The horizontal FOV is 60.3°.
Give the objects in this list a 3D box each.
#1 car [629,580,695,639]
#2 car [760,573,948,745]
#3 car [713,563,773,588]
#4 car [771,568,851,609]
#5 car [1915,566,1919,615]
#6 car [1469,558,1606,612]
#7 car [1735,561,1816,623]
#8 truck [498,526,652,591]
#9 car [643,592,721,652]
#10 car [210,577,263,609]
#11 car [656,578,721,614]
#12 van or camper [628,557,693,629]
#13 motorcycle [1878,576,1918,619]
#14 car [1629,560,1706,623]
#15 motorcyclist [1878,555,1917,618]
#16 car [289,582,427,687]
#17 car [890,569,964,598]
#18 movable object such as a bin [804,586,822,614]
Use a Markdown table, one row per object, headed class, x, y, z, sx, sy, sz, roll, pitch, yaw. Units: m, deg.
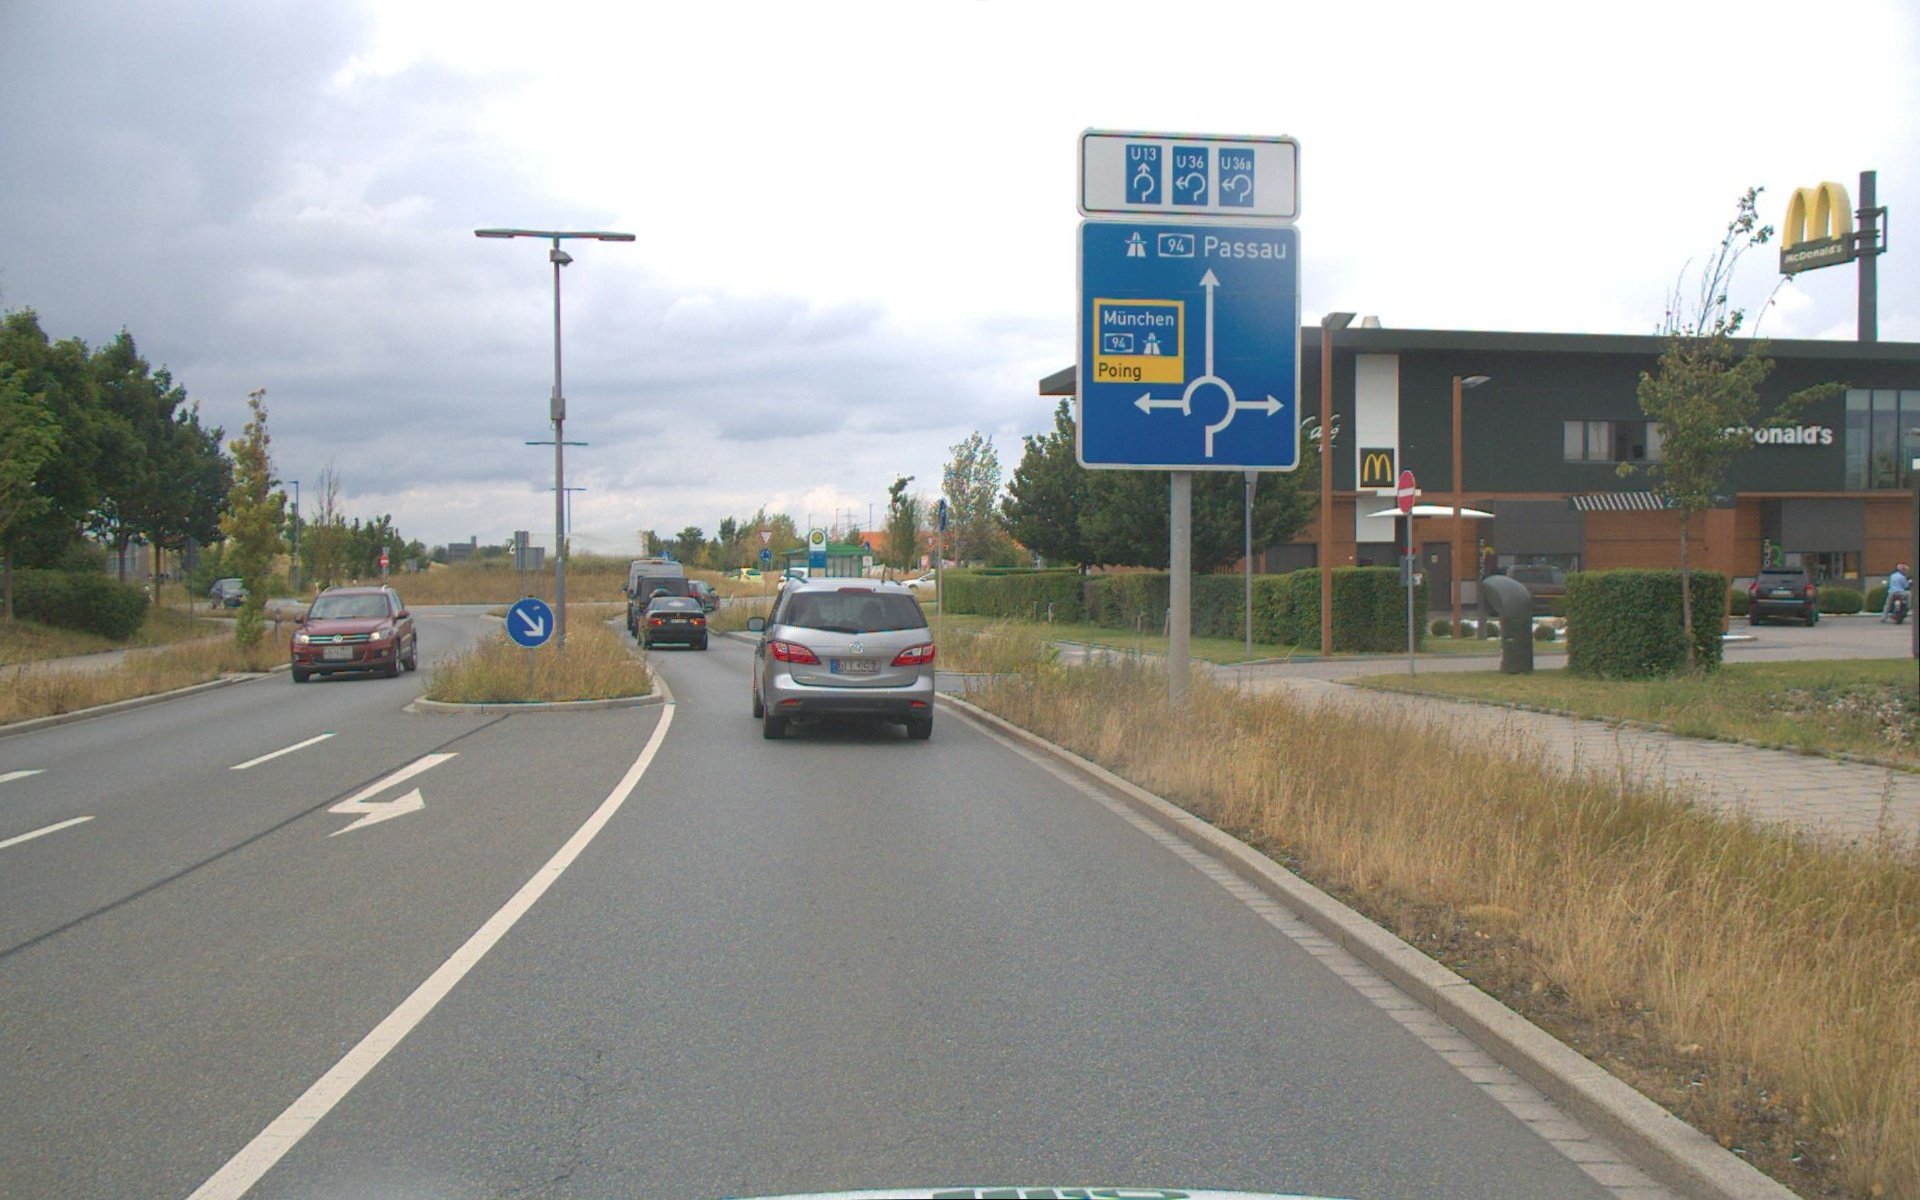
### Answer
| class | x | y | z | sx | sy | sz | roll | pitch | yaw |
| --- | --- | --- | --- | --- | --- | --- | --- | --- | --- |
| car | -9.792 | 0.280 | 54.244 | 2.021 | 1.857 | 4.773 | 0 | 0 | -11 |
| car | -1.233 | 0.543 | 17.687 | 1.697 | 1.628 | 3.800 | 1 | 1 | -8 |
| car | -14.031 | -1.554 | 106.752 | 1.983 | 1.542 | 3.938 | -1 | 1 | -42 |
| car | -7.669 | -0.623 | 85.623 | 1.955 | 2.049 | 4.618 | 0 | 1 | 28 |
| car | 30.476 | -0.286 | 50.273 | 1.747 | 1.523 | 4.001 | 0 | 1 | 19 |
| car | 19.366 | -0.499 | 55.493 | 3.919 | 1.747 | 1.993 | 0 | 1 | -14 |
| car | 24.314 | -0.263 | 49.286 | 2.075 | 1.747 | 4.226 | 0 | 1 | 27 |
| truck | -24.500 | -2.636 | 105.646 | 9.122 | 3.975 | 3.141 | -1 | 0 | -4 |
| car | -7.371 | 0.538 | 43.630 | 1.812 | 1.443 | 4.212 | -1 | 1 | -12 |
| car | -35.279 | -0.310 | 80.603 | 1.823 | 1.431 | 3.958 | -3 | 1 | -31 |
| car | -11.871 | -0.194 | 72.569 | 1.951 | 1.542 | 4.002 | -1 | 1 | 4 |
| van or camper | -11.114 | -0.278 | 61.598 | 2.260 | 2.549 | 5.194 | 0 | 1 | -10 |
| motorcycle | 27.962 | -0.091 | 49.330 | 0.839 | 1.266 | 1.965 | 0 | 1 | 24 |
| car | 20.367 | -0.265 | 47.650 | 1.953 | 1.747 | 3.999 | 0 | 1 | 23 |
| motorcyclist | 27.952 | -0.396 | 49.326 | 0.942 | 1.864 | 0.845 | 0 | 0 | 24 |
| car | -11.023 | 0.584 | 30.563 | 1.768 | 1.698 | 4.313 | -3 | 1 | -13 |
| car | -2.039 | -1.015 | 101.416 | 4.510 | 1.788 | 1.999 | 0 | 0 | -4 |
| movable object such as a bin | -4.200 | -0.003 | 47.165 | 0.448 | 0.812 | 0.378 | 0 | 0 | -15 |
